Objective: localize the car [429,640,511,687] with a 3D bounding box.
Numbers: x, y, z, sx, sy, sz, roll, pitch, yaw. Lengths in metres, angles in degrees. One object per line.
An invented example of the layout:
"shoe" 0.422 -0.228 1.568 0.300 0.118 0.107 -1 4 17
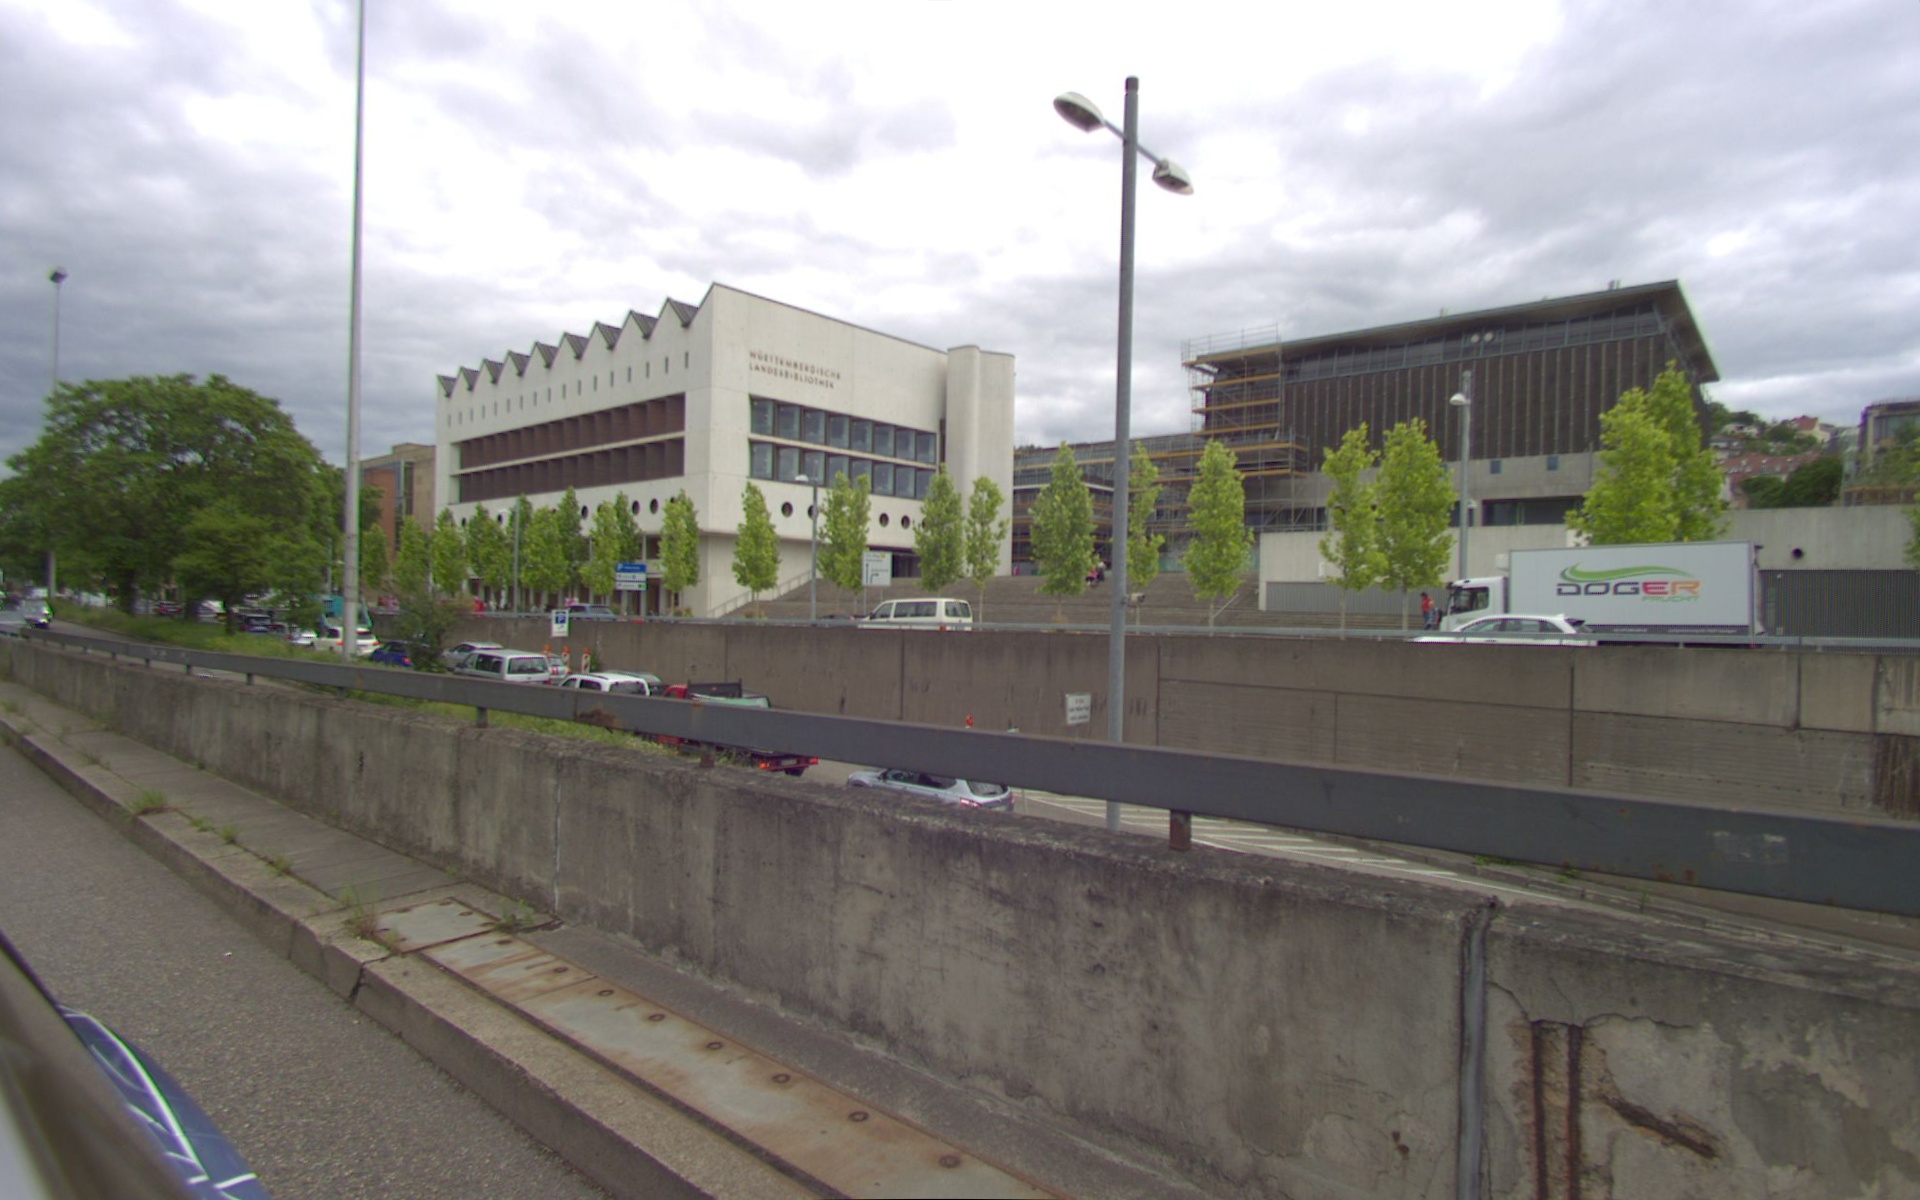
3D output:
"car" -22.577 2.907 46.589 3.999 2.029 1.972 -2 -5 42

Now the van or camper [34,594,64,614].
"van or camper" -97.886 0.450 108.713 3.999 2.029 2.010 -2 -1 42

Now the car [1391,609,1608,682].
"car" 12.828 1.056 24.228 4.270 1.586 1.700 -2 -2 43

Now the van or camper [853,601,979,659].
"van or camper" -1.673 1.104 37.340 4.555 2.029 1.972 -2 -2 42

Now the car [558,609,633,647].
"car" -18.667 1.427 51.733 3.999 1.829 1.972 -2 -2 42

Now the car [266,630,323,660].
"car" -34.801 2.332 52.907 3.360 1.497 1.653 -1 -2 42

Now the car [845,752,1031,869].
"car" -0.539 4.505 22.233 3.925 1.829 1.771 -2 -1 41

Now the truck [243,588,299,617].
"truck" -55.326 0.248 81.239 5.607 2.174 1.979 -1 -1 36

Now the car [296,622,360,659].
"car" -37.169 2.365 59.485 4.654 2.029 1.972 -2 -1 42

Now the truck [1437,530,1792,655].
"truck" 16.739 -0.070 26.238 7.252 2.809 3.196 -2 -2 43

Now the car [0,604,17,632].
"car" -74.720 1.372 78.486 3.999 2.029 1.972 1 -2 42

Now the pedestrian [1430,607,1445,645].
"pedestrian" 19.510 1.041 41.371 0.461 1.533 0.377 -1 0 35

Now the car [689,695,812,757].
"car" -6.927 4.076 33.274 3.998 1.563 1.973 -1 0 41

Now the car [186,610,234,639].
"car" -55.685 1.844 75.101 3.999 2.029 1.972 -2 -5 42

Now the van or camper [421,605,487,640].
"van or camper" -30.991 1.379 61.988 4.553 2.029 1.973 -2 -1 40

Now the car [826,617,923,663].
"car" -3.707 1.701 43.504 3.999 1.829 1.972 -2 -2 42

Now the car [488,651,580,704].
"car" -17.956 3.231 42.620 3.999 2.029 1.972 -2 -5 42

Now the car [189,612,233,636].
"car" -49.017 1.590 66.202 3.360 1.497 1.653 -2 -1 42

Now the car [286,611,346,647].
"car" -39.308 1.785 61.721 3.999 2.029 1.972 -2 -5 42

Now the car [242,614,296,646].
"car" -46.085 2.026 67.442 3.999 2.029 1.972 -2 -5 42

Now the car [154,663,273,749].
"car" -21.363 2.931 28.914 3.999 2.029 1.972 -1 0 42

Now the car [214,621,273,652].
"car" -41.191 2.059 58.160 3.999 1.672 1.972 -2 -1 42

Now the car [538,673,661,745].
"car" -11.596 3.436 32.486 3.999 2.029 1.972 -2 -5 42

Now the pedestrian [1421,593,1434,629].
"pedestrian" 19.881 0.470 43.037 0.461 1.533 0.377 -1 0 35

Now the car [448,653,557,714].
"car" -16.708 2.999 36.896 4.331 2.029 1.972 -2 -5 42

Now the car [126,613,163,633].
"car" -61.290 1.726 76.033 3.360 1.497 1.653 -2 -1 42

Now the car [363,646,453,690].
"car" -23.523 2.873 43.055 4.280 1.757 1.972 -2 -5 42

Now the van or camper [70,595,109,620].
"van or camper" -74.637 0.644 86.763 3.999 2.029 2.010 -2 -1 42

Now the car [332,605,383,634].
"car" -43.064 1.375 72.315 3.997 2.029 1.973 -1 0 40

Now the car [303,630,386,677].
"car" -29.469 2.540 48.426 4.850 2.148 1.972 -2 -5 42

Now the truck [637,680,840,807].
"truck" -6.075 3.667 27.183 5.977 2.711 2.293 -2 -1 42
